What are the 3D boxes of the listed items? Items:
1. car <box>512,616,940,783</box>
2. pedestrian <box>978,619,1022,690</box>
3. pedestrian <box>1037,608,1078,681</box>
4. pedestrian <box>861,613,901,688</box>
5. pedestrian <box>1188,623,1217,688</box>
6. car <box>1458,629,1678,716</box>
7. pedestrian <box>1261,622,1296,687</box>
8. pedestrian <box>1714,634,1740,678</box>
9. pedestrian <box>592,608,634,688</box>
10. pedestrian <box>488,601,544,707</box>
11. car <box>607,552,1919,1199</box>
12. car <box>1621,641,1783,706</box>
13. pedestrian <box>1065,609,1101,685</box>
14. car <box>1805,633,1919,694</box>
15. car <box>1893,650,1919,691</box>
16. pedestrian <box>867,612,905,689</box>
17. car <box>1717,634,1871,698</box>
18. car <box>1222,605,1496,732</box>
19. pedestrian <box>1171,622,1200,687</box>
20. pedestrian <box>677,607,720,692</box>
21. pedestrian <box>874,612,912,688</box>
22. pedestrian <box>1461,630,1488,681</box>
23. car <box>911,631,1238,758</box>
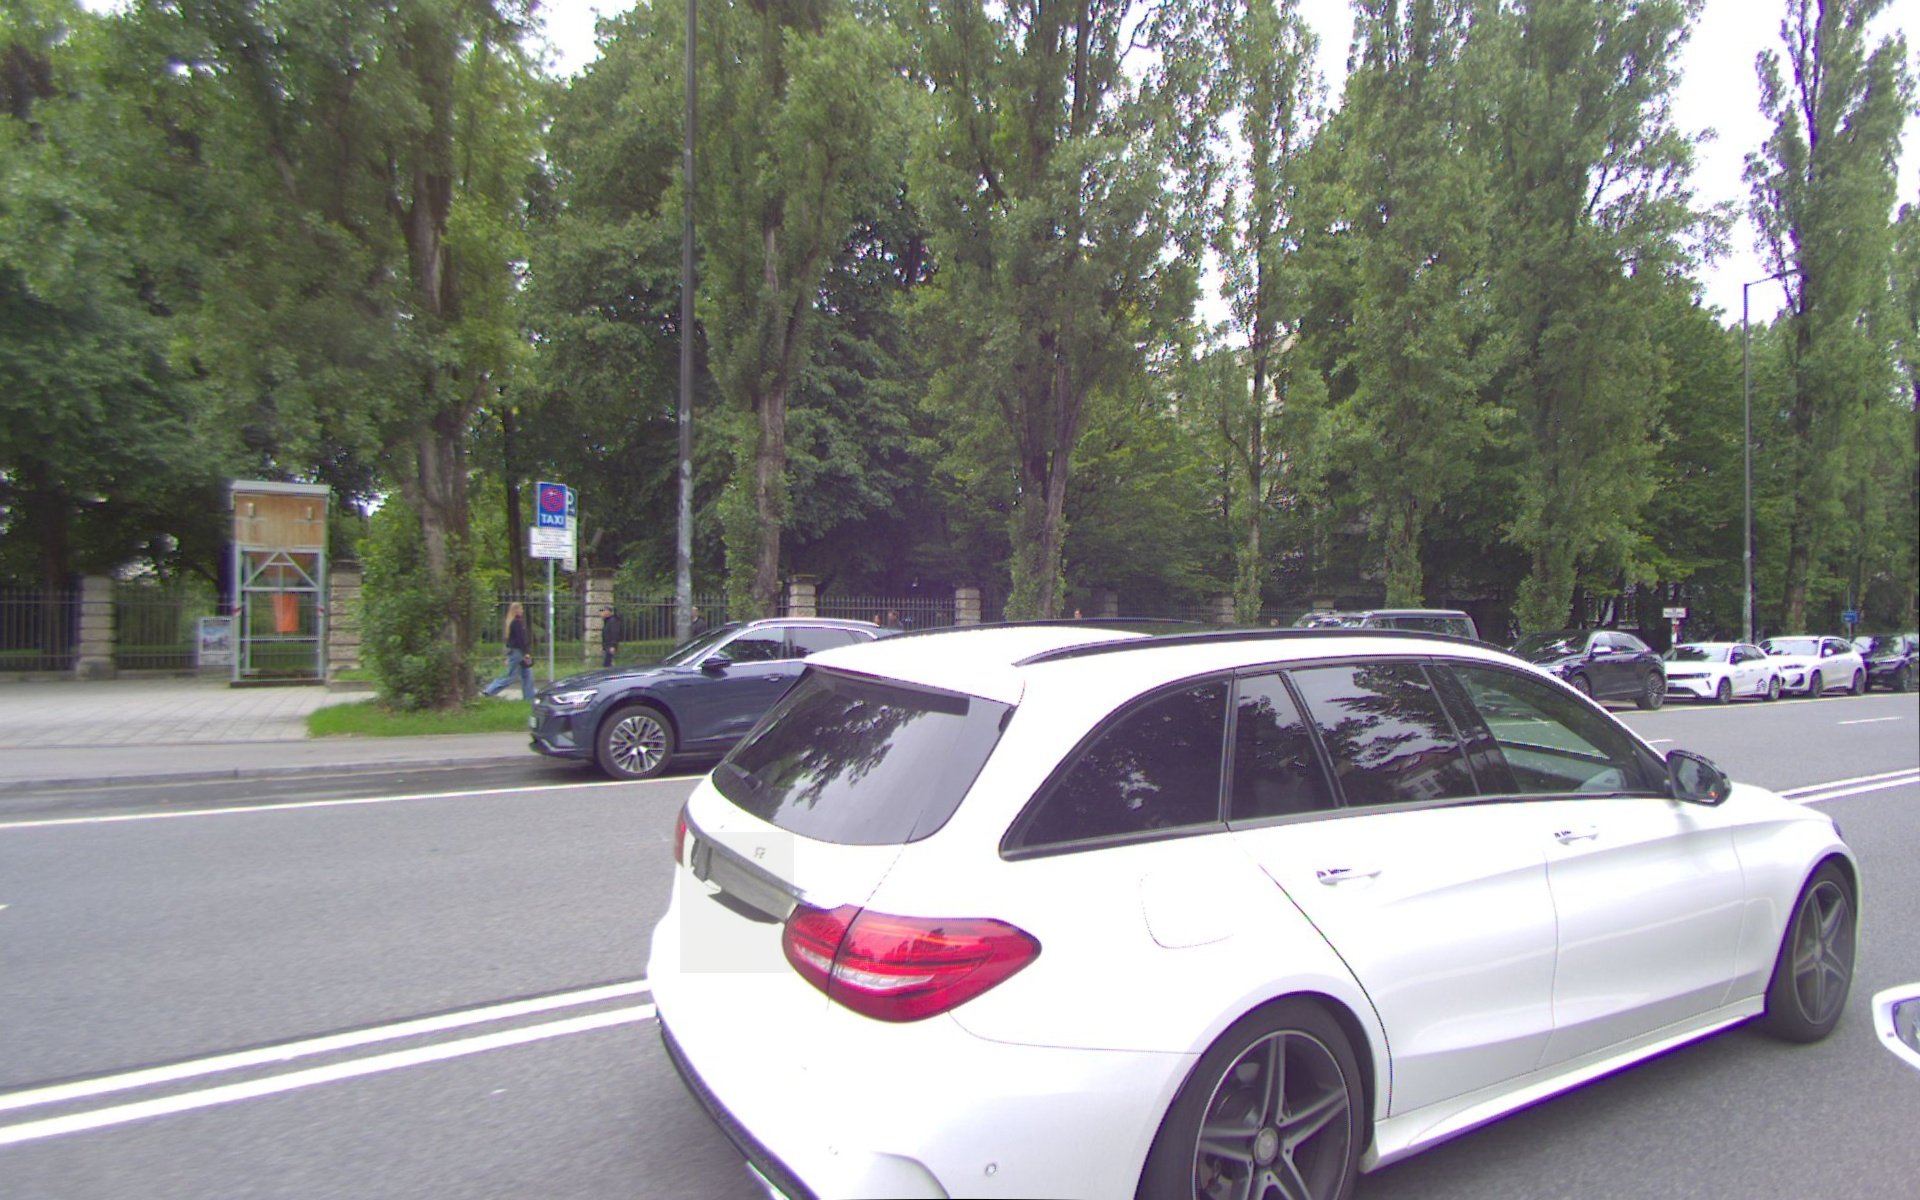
[{"bbox_3d":[-2.636,1.055,11.711,4.561,1.616,1.773,1,-3,-31],"label":"car"},{"bbox_3d":[0.943,1.267,23.682,0.782,1.639,0.706,1,-1,-31],"label":"pedestrian"},{"bbox_3d":[2.519,1.143,26.067,0.748,1.879,0.743,1,-1,-30],"label":"pedestrian"},{"bbox_3d":[-1.882,1.184,23.803,0.724,1.745,0.664,1,-1,-29],"label":"pedestrian"},{"bbox_3d":[6.498,1.483,26.942,0.563,1.730,0.506,1,-1,-30],"label":"pedestrian"},{"bbox_3d":[12.740,1.486,20.966,4.995,1.629,1.806,2,-4,-31],"label":"car"},{"bbox_3d":[8.833,1.496,27.850,0.748,1.780,0.605,1,-2,-32],"label":"pedestrian"},{"bbox_3d":[32.276,2.359,42.274,0.766,1.839,0.637,1,-1,-31],"label":"pedestrian"},{"bbox_3d":[-7.146,0.983,20.671,0.696,1.617,0.615,1,-1,-29],"label":"pedestrian"},{"bbox_3d":[-7.477,0.897,16.912,0.778,1.743,0.579,1,-1,-32],"label":"pedestrian"},{"bbox_3d":[1.317,0.727,3.492,4.530,1.474,1.817,2,-1,-31],"label":"car"},{"bbox_3d":[17.976,1.742,24.299,4.189,1.440,1.668,2,-4,-31],"label":"car"},{"bbox_3d":[3.095,1.179,25.284,0.714,1.884,0.506,1,-1,-30],"label":"pedestrian"},{"bbox_3d":[27.392,1.867,30.025,4.666,1.680,1.870,1,-4,-32],"label":"car"},{"bbox_3d":[32.429,2.286,32.957,3.981,1.321,1.573,1,-3,-30],"label":"car"},{"bbox_3d":[-1.665,1.116,22.543,0.665,1.691,0.546,1,-1,-30],"label":"pedestrian"},{"bbox_3d":[22.615,1.745,27.203,4.408,1.609,1.778,1,-4,-30],"label":"car"},{"bbox_3d":[7.158,1.166,17.881,4.881,1.982,1.984,1,-3,-31],"label":"car"},{"bbox_3d":[6.147,1.482,27.431,0.563,1.730,0.506,1,-1,-30],"label":"pedestrian"},{"bbox_3d":[-5.312,0.998,20.379,0.696,1.682,0.615,1,-1,-30],"label":"pedestrian"},{"bbox_3d":[-1.547,1.140,23.264,0.714,1.730,0.506,1,-1,-30],"label":"pedestrian"},{"bbox_3d":[18.196,1.942,35.521,0.665,1.770,0.546,2,-1,-31],"label":"pedestrian"},{"bbox_3d":[1.742,1.278,14.709,4.601,1.605,1.881,1,-3,-31],"label":"car"}]
